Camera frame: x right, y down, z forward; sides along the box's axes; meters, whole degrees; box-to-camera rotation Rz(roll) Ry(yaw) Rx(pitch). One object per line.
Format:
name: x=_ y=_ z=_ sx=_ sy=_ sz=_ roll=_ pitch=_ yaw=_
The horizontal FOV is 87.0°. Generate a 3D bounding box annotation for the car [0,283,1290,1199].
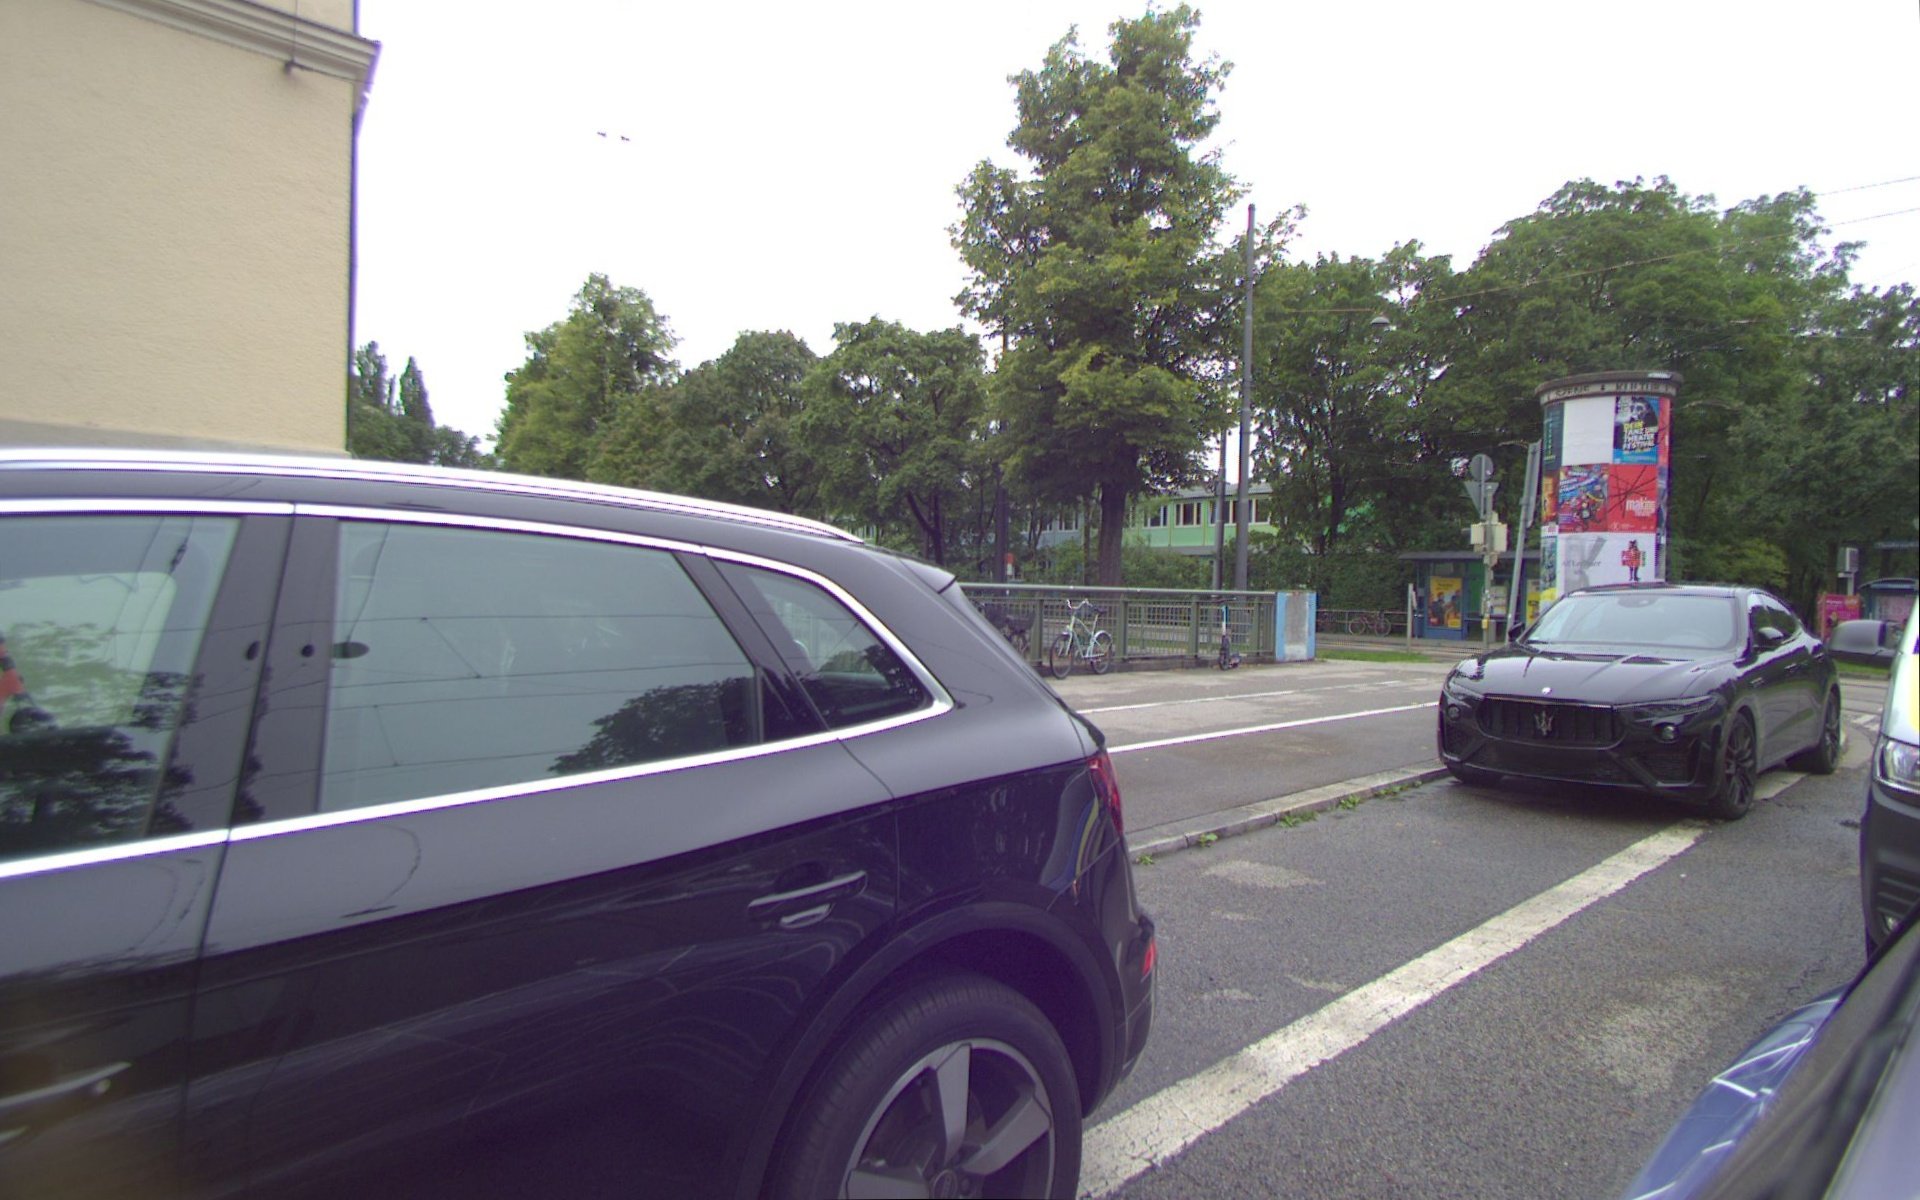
car: x=-1.429 y=0.523 z=1.754 sx=4.408 sy=1.679 sz=1.778 roll=0 pitch=0 yaw=-40

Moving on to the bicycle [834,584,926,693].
bicycle: x=-0.981 y=0.459 z=12.659 sx=0.281 sy=1.298 sz=1.391 roll=-1 pitch=-1 yaw=38

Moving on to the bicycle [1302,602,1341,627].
bicycle: x=14.206 y=0.563 z=39.810 sx=0.366 sy=0.964 sz=1.483 roll=0 pitch=1 yaw=-38

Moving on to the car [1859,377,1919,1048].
car: x=5.589 y=0.371 z=4.425 sx=5.612 sy=2.078 sz=1.901 roll=0 pitch=1 yaw=-43

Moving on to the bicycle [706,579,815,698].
bicycle: x=-2.261 y=0.417 z=11.610 sx=0.281 sy=1.298 sz=1.391 roll=-1 pitch=-1 yaw=38

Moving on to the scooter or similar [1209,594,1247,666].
scooter or similar: x=4.648 y=0.506 z=17.524 sx=0.224 sy=1.227 sz=1.006 roll=-1 pitch=-1 yaw=40

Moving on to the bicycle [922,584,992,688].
bicycle: x=-0.021 y=0.453 z=13.361 sx=0.280 sy=1.298 sz=1.395 roll=-1 pitch=-1 yaw=29

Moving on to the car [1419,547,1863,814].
car: x=5.828 y=0.520 z=8.421 sx=4.582 sy=1.630 sz=1.904 roll=1 pitch=-1 yaw=-40

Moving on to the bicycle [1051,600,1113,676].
bicycle: x=1.851 y=0.548 z=15.241 sx=0.263 sy=1.096 sz=1.524 roll=-1 pitch=-1 yaw=34

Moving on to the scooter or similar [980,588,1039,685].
scooter or similar: x=0.707 y=0.479 z=14.008 sx=0.242 sy=1.279 sz=1.482 roll=-1 pitch=0 yaw=27

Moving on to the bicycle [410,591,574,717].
bicycle: x=-4.442 y=0.481 z=9.672 sx=0.286 sy=1.120 sz=1.421 roll=1 pitch=0 yaw=42

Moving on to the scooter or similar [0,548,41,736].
scooter or similar: x=-7.130 y=0.296 z=7.010 sx=1.123 sy=1.329 sz=0.261 roll=0 pitch=-1 yaw=-43

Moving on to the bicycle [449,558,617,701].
bicycle: x=-4.187 y=0.273 z=10.008 sx=1.511 sy=1.329 sz=0.332 roll=0 pitch=-1 yaw=-42

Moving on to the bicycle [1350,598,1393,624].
bicycle: x=15.468 y=0.405 z=38.055 sx=0.366 sy=0.964 sz=1.483 roll=0 pitch=1 yaw=-38
